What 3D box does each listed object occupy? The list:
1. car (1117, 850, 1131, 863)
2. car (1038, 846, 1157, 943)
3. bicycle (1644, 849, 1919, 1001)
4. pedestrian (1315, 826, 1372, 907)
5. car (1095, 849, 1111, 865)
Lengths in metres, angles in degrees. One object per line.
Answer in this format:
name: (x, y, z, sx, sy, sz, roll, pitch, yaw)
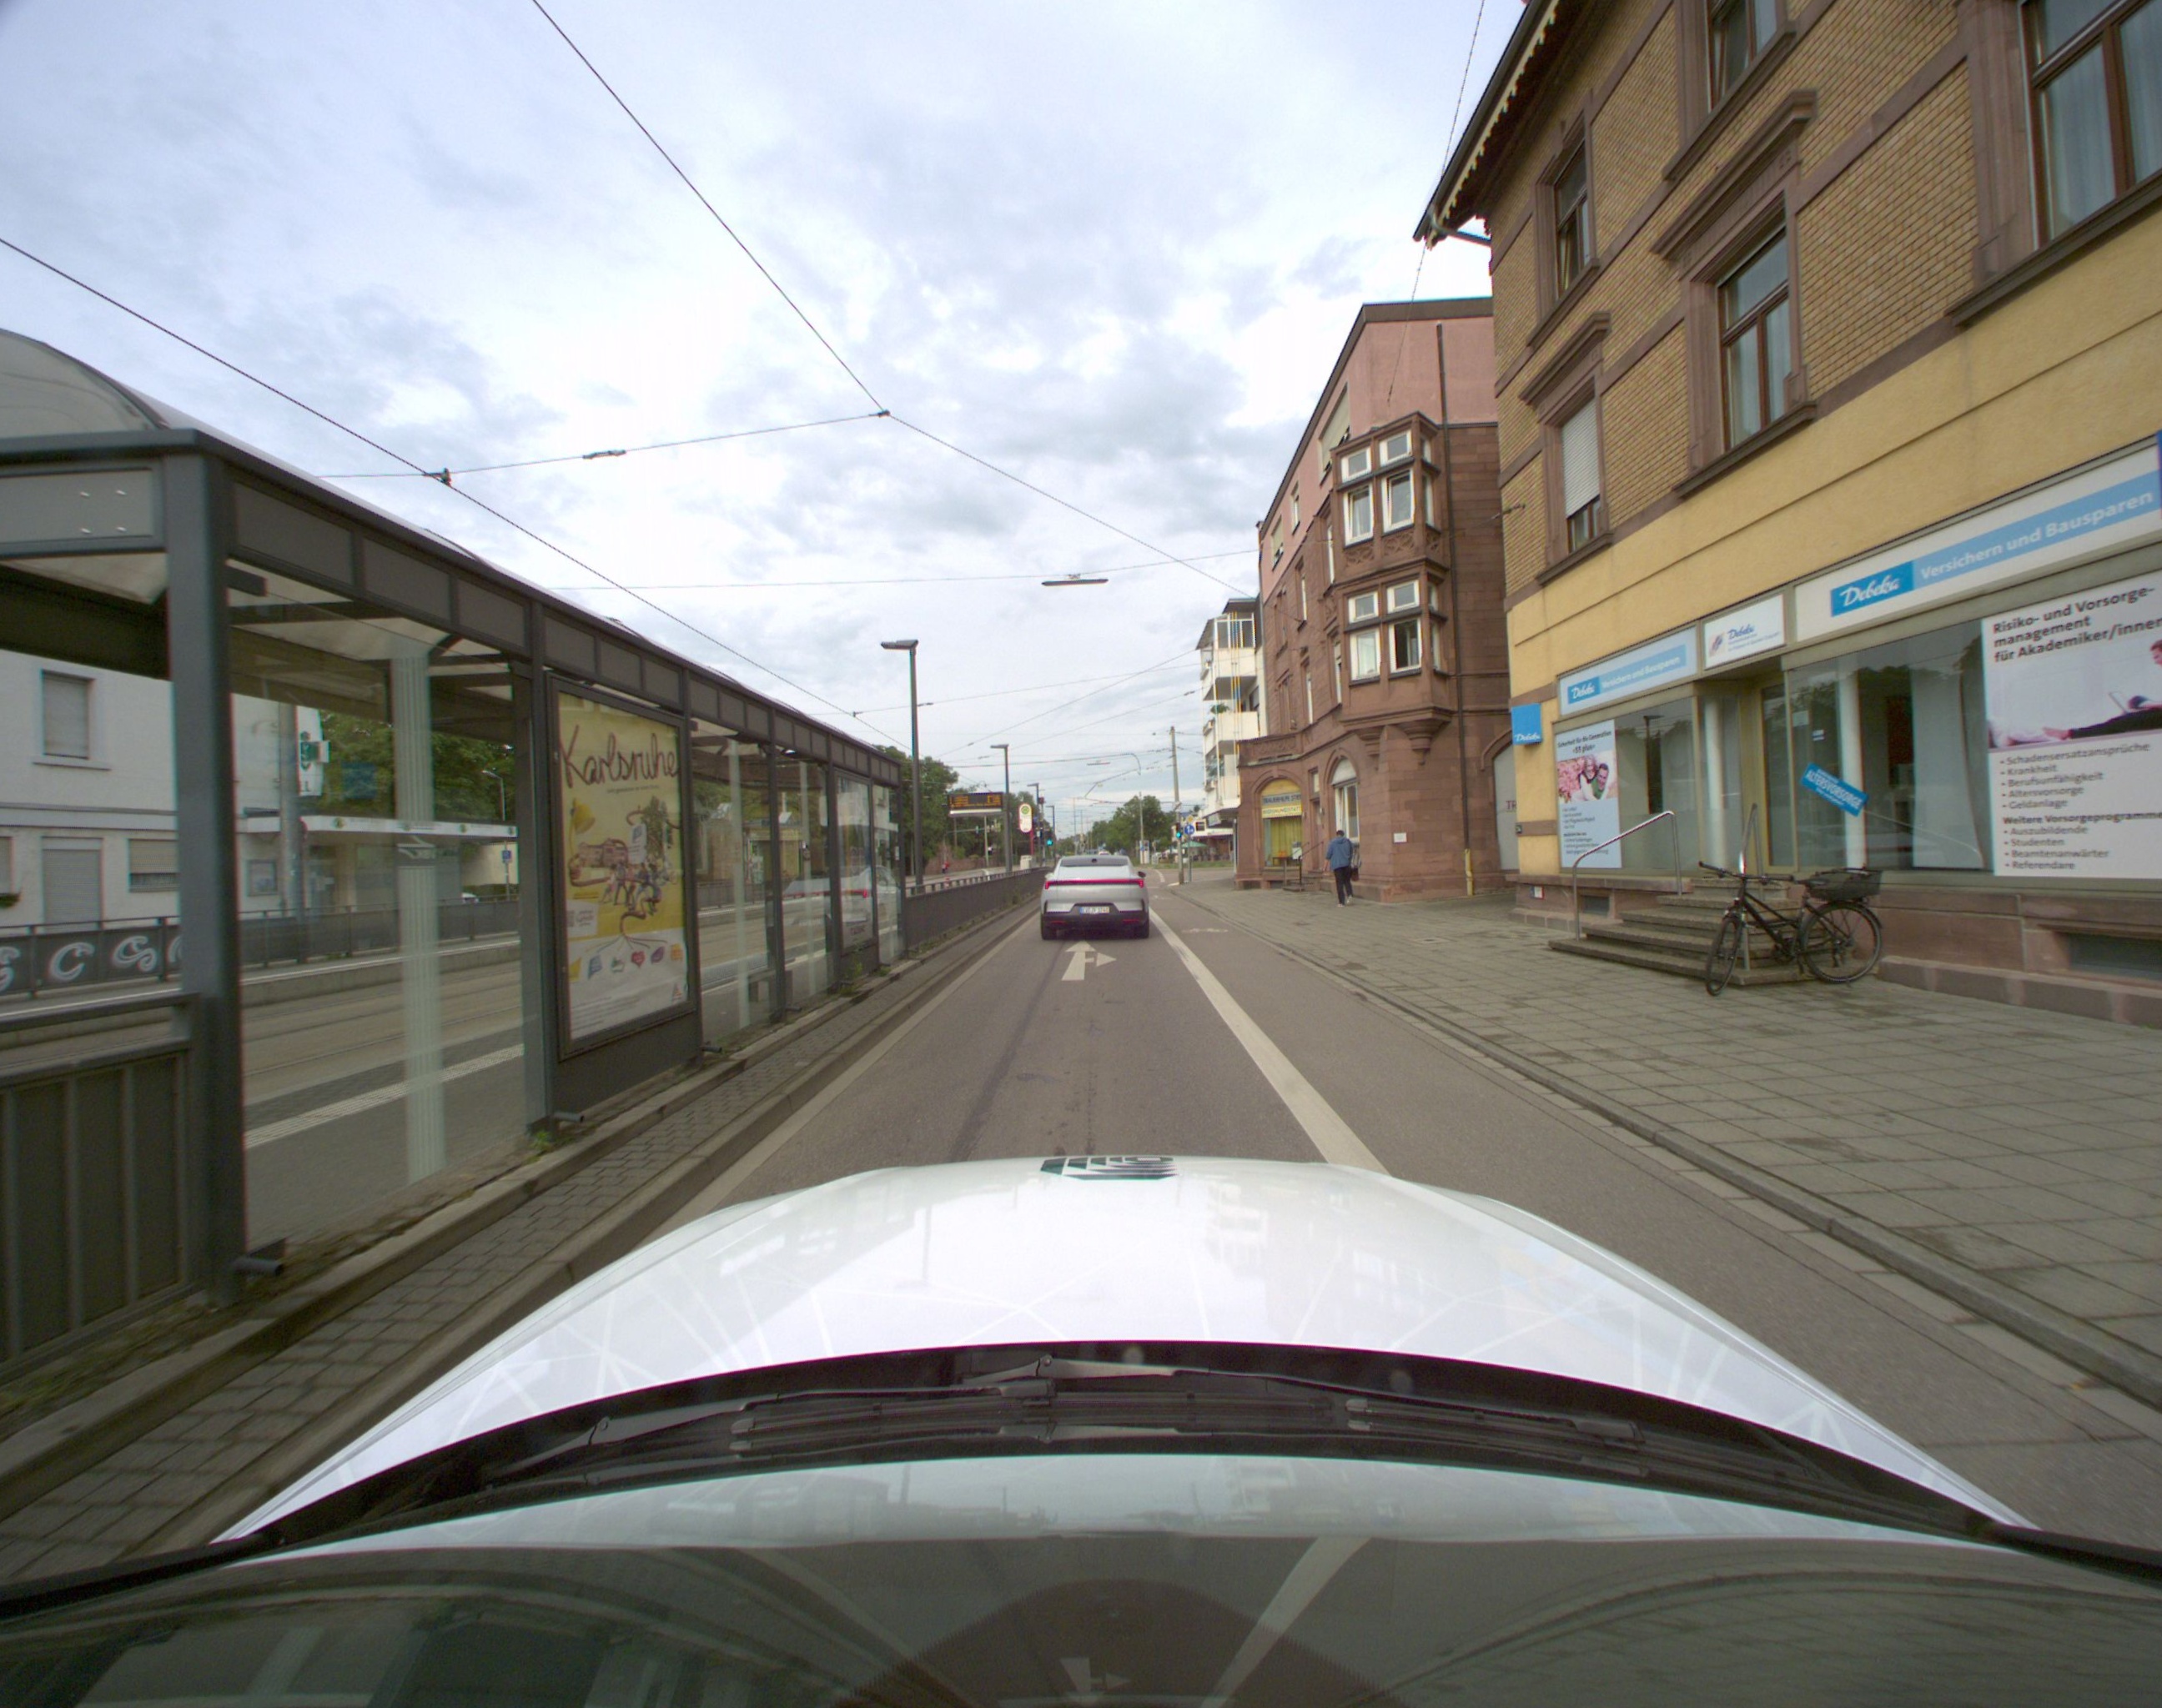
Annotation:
car: (8.809, 0.536, 166.510, 2.797, 2.505, 5.724, -1, -1, 2)
car: (0.189, 0.714, 15.746, 1.995, 1.581, 3.995, -1, -1, -3)
bicycle: (6.084, 0.593, 7.135, 1.771, 1.129, 0.642, -5, 0, 0)
pedestrian: (6.331, 0.284, 19.730, 0.957, 1.850, 0.976, -4, 0, 1)
car: (3.556, 0.515, 131.694, 2.220, 2.402, 5.119, -1, -1, -2)
